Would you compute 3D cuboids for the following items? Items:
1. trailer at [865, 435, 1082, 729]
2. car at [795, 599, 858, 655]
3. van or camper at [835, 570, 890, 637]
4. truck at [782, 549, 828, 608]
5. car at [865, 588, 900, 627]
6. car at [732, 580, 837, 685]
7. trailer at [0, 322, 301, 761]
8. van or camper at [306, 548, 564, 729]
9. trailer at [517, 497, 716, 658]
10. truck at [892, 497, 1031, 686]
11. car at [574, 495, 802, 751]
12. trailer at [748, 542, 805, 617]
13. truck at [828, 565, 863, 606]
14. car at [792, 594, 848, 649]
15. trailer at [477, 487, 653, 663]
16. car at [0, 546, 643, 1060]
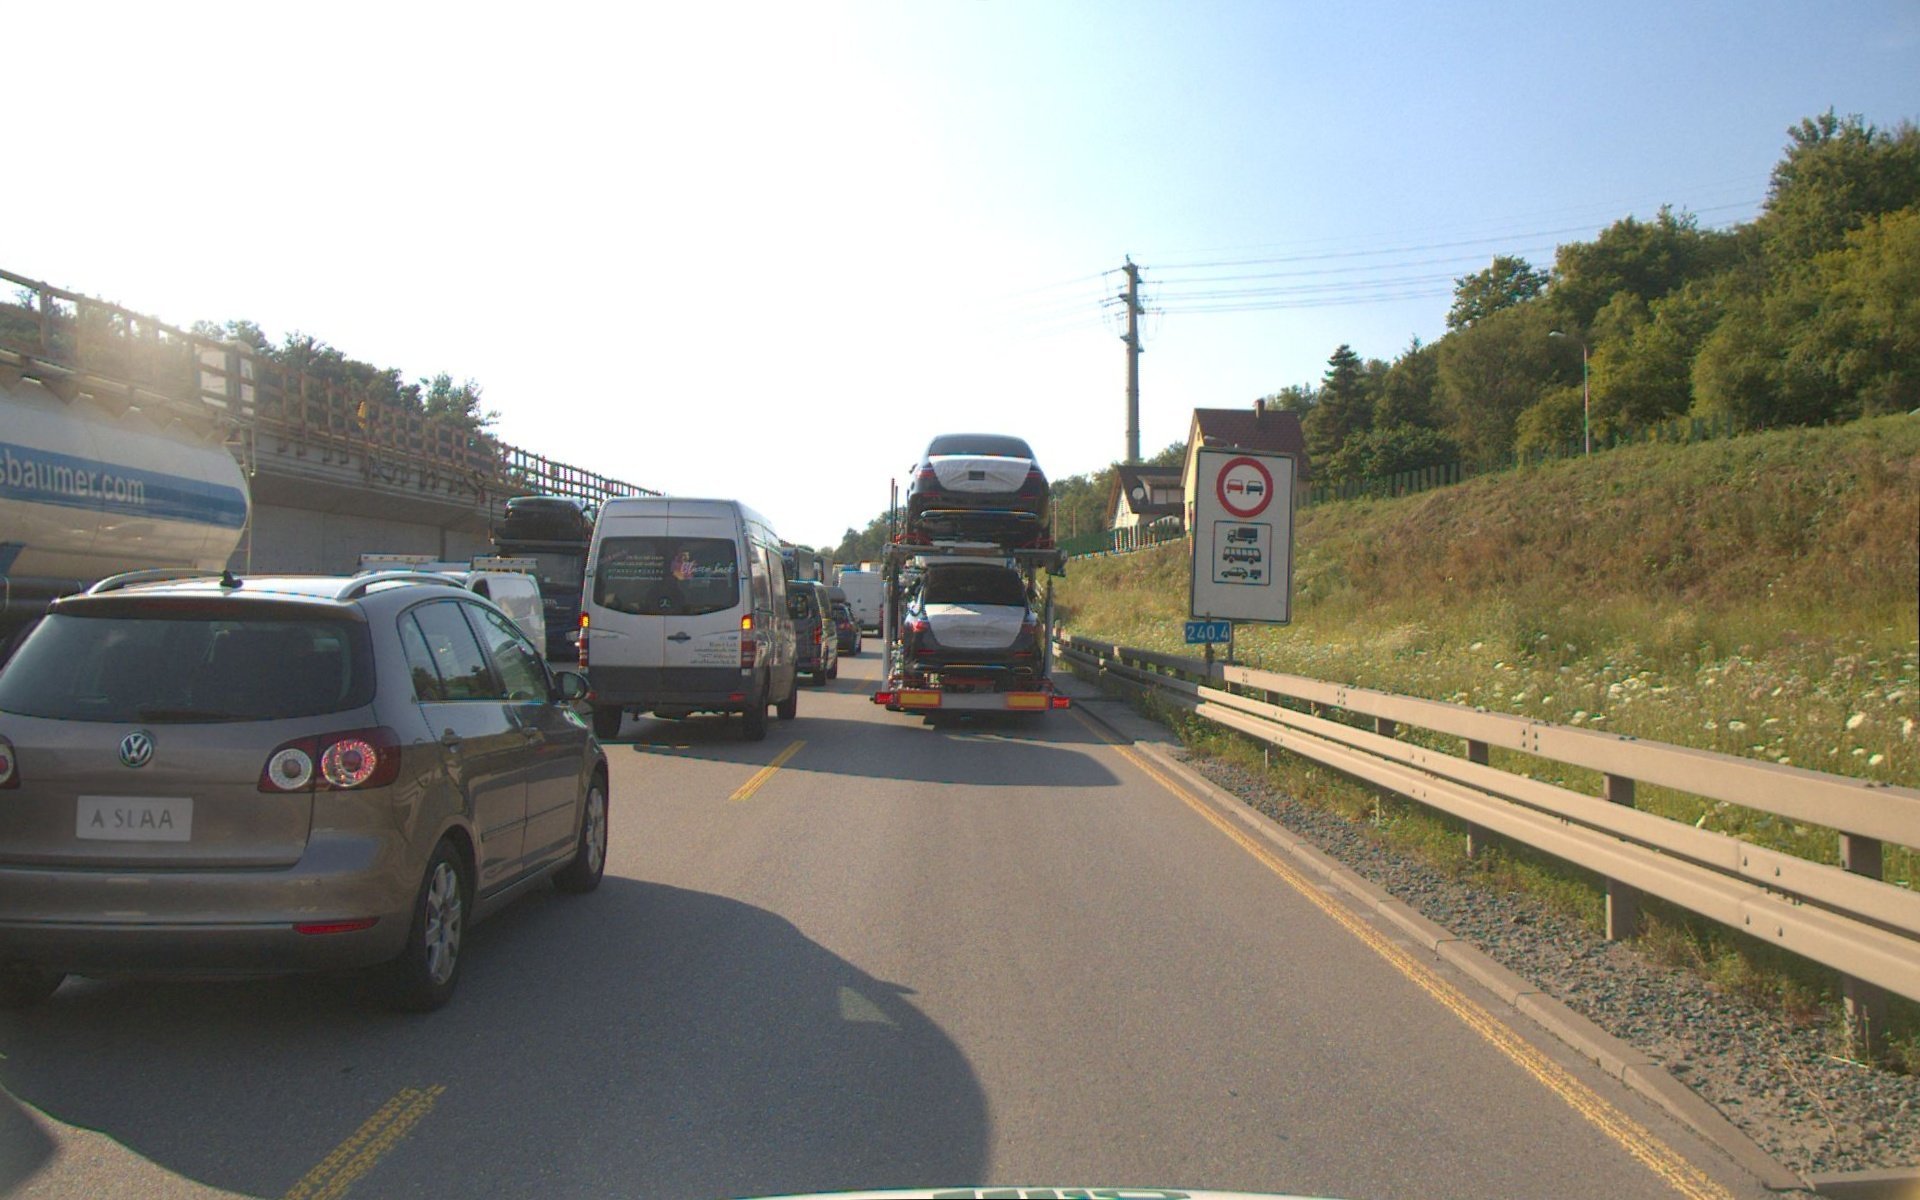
[{"bbox_3d":[0.084,-0.197,28.216,2.628,3.596,15.285,1,0,-1],"label":"trailer"},{"bbox_3d":[-3.975,0.780,49.874,1.691,1.549,3.971,1,1,-2],"label":"car"},{"bbox_3d":[-3.999,0.144,68.409,1.928,2.637,5.041,1,0,0],"label":"van or camper"},{"bbox_3d":[-11.082,-1.477,118.998,2.802,4.078,5.656,1,0,-1],"label":"truck"},{"bbox_3d":[-4.302,0.388,92.763,1.847,2.136,3.764,1,0,-1],"label":"car"},{"bbox_3d":[-3.446,0.635,33.128,1.772,1.937,3.998,1,-1,-2],"label":"car"},{"bbox_3d":[-9.882,-0.541,14.924,2.598,3.918,13.440,1,0,-1],"label":"trailer"},{"bbox_3d":[-6.691,0.462,21.738,1.821,2.049,5.293,1,0,-2],"label":"van or camper"},{"bbox_3d":[-10.045,-0.524,50.691,2.714,4.101,15.762,1,0,0],"label":"trailer"},{"bbox_3d":[-0.017,-0.151,35.576,2.628,3.596,7.192,1,0,-1],"label":"truck"},{"bbox_3d":[-3.131,0.208,20.200,1.953,2.694,5.529,0,1,-1],"label":"car"},{"bbox_3d":[-10.680,-1.214,96.598,2.708,4.213,5.975,1,1,-1],"label":"trailer"},{"bbox_3d":[-10.223,-1.245,148.370,2.660,3.484,8.138,-2,0,-2],"label":"truck"},{"bbox_3d":[-6.733,1.007,80.028,2.421,2.578,3.999,0,0,-2],"label":"car"},{"bbox_3d":[-10.009,-0.574,42.744,2.714,4.101,7.207,1,0,0],"label":"trailer"},{"bbox_3d":[-2.615,0.667,7.352,1.646,1.616,4.270,0,-1,-1],"label":"car"}]
